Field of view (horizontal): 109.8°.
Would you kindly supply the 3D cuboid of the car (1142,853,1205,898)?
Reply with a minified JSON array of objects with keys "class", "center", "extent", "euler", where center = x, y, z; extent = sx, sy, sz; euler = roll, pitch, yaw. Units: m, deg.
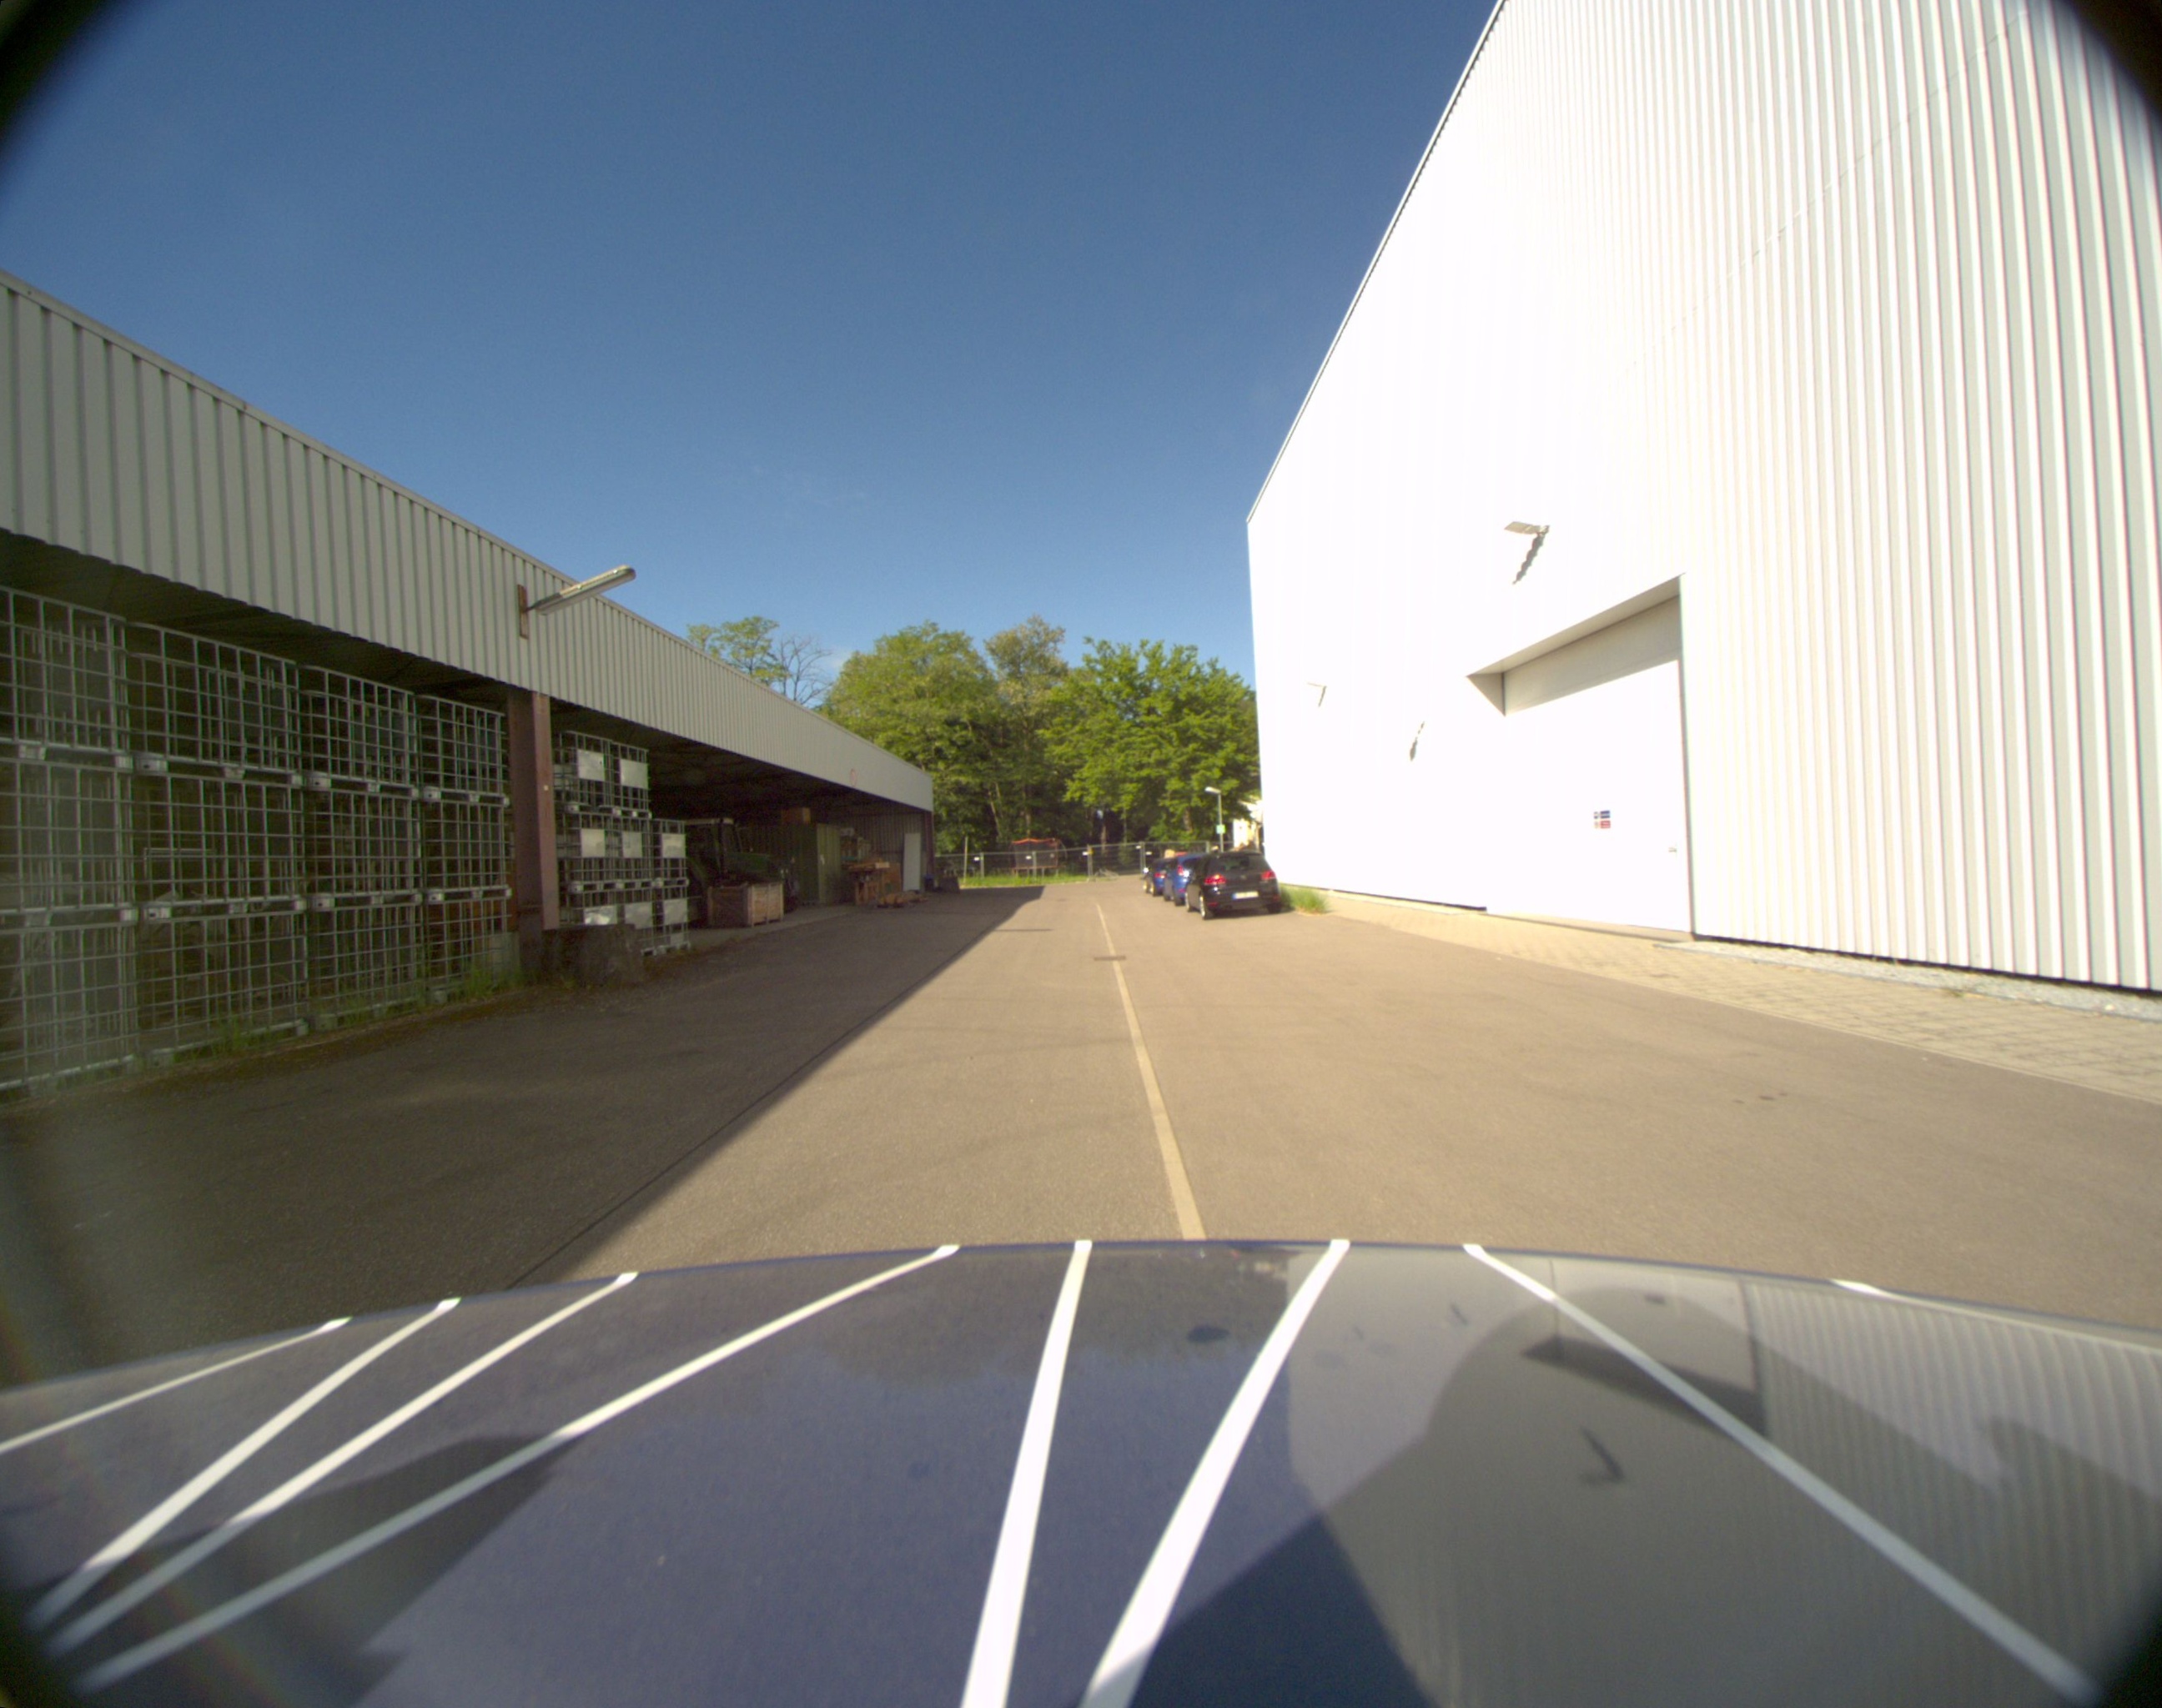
[{"class":"car","center":[3.370,0.760,28.439],"extent":[1.716,1.440,3.798],"euler":[-4,0,-1]}]

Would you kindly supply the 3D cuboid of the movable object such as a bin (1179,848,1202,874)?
[{"class":"movable object such as a bin","center":[6.354,0.401,44.170],"extent":[1.141,1.426,1.289],"euler":[-1,0,1]}]

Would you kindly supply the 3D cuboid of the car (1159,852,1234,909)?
[{"class":"car","center":[3.390,0.753,22.928],"extent":[1.552,1.479,3.522],"euler":[-4,0,-1]}]

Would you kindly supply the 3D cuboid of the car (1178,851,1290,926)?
[{"class":"car","center":[3.498,0.747,18.183],"extent":[1.760,1.437,4.315],"euler":[-5,0,1]}]

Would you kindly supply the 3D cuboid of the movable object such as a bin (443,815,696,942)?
[{"class":"movable object such as a bin","center":[-12.590,0.572,19.002],"extent":[4.537,2.814,2.497],"euler":[-2,0,1]}]

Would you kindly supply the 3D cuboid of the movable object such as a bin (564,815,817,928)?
[{"class":"movable object such as a bin","center":[-11.221,0.477,22.267],"extent":[5.848,2.908,2.820],"euler":[-2,0,1]}]

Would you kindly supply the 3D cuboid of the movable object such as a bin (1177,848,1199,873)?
[{"class":"movable object such as a bin","center":[6.380,0.403,45.534],"extent":[1.141,1.469,1.280],"euler":[-1,-1,1]}]
